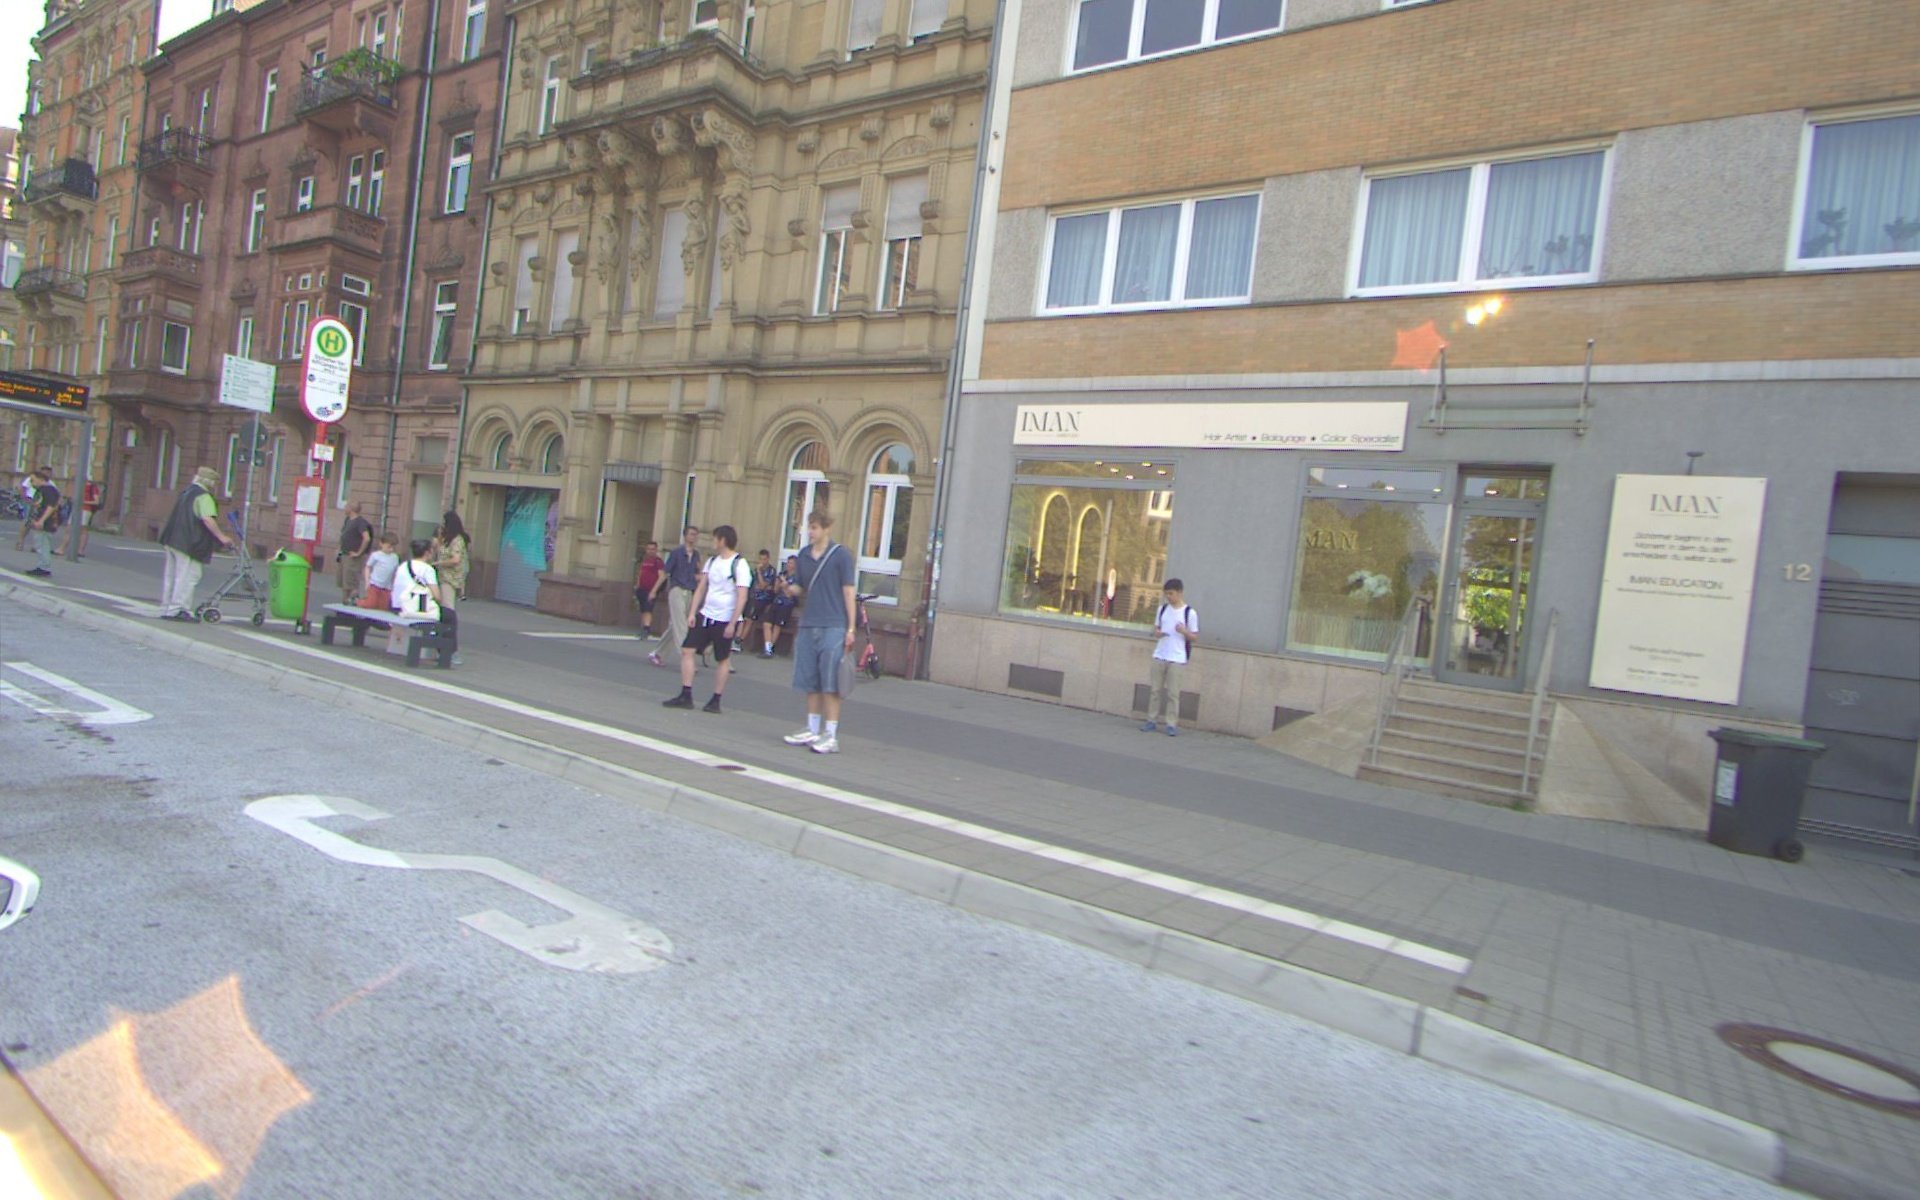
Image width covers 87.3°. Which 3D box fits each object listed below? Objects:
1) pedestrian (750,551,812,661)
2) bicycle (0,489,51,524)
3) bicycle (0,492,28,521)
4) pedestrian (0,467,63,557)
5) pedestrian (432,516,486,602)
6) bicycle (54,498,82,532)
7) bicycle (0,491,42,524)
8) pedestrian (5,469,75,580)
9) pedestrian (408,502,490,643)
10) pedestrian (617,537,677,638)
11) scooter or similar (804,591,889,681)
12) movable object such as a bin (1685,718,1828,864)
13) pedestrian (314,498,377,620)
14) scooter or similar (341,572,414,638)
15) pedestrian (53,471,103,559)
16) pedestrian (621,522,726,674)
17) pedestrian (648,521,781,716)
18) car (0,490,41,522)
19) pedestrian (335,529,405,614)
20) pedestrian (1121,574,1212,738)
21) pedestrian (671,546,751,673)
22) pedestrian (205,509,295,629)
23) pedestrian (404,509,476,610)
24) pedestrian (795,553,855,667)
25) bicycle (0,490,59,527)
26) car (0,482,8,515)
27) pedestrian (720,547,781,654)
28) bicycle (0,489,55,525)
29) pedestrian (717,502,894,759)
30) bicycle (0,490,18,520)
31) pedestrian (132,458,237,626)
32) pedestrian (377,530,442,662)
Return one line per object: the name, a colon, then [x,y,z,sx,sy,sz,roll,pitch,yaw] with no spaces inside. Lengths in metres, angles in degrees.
pedestrian: [-2.940,0.108,16.537,0.577,1.713,0.604,7,1,30]
bicycle: [-33.998,-3.391,36.083,0.491,1.061,1.931,7,0,28]
bicycle: [-36.025,-3.567,37.392,0.491,0.962,1.931,7,0,28]
pedestrian: [-18.543,-1.756,20.092,0.609,1.685,0.690,7,1,34]
pedestrian: [-10.677,-0.868,21.462,0.679,1.741,0.630,7,1,33]
bicycle: [-31.149,-2.972,35.114,1.645,1.061,0.416,7,1,39]
bicycle: [-35.271,-3.467,37.121,0.491,1.061,1.931,7,0,28]
pedestrian: [-14.392,-1.181,15.734,0.691,1.632,0.528,7,1,30]
pedestrian: [-6.655,-0.347,13.106,0.607,1.751,0.565,7,1,30]
pedestrian: [-5.485,-0.211,17.647,0.577,1.675,0.604,7,1,30]
scooter or similar: [-1.675,0.522,14.806,1.133,1.178,0.360,7,1,31]
movable object such as a bin: [7.050,1.665,8.943,0.657,1.094,0.739,7,1,17]
pedestrian: [-9.294,-0.622,15.221,0.792,1.754,0.341,7,1,31]
scooter or similar: [-7.380,0.065,12.752,0.506,0.751,0.565,7,1,30]
pedestrian: [-18.360,-1.765,20.936,0.691,1.723,0.481,7,1,30]
pedestrian: [-3.711,-0.027,13.014,1.054,1.827,0.617,7,1,35]
pedestrian: [-2.372,0.181,9.740,0.787,1.751,0.750,7,1,30]
car: [-43.587,-4.388,44.524,1.521,1.237,3.942,7,0,29]
pedestrian: [-6.282,-0.302,10.710,0.593,0.830,0.303,7,1,26]
pedestrian: [2.505,0.669,12.198,0.730,1.855,0.604,7,1,30]
pedestrian: [-3.375,0.127,13.637,0.800,1.630,0.486,7,1,35]
pedestrian: [-8.194,-0.350,11.619,0.587,1.294,0.565,7,1,30]
pedestrian: [-9.604,-0.746,18.591,0.883,1.746,0.701,7,1,33]
pedestrian: [-2.146,0.169,16.019,0.502,1.753,0.604,7,1,30]
bicycle: [-32.885,-3.217,35.193,0.491,1.061,1.931,7,0,28]
car: [-47.894,-5.095,47.214,1.966,1.583,4.187,7,0,29]
pedestrian: [-3.502,0.015,16.851,0.577,1.713,0.604,7,1,30]
bicycle: [-33.506,-3.320,35.702,0.491,1.061,1.931,7,0,28]
pedestrian: [-1.209,0.236,7.969,0.787,1.855,0.926,7,1,30]
bicycle: [-37.072,-3.699,38.074,0.518,1.061,1.931,7,0,28]
pedestrian: [-8.550,-0.635,11.094,0.733,1.751,0.565,7,1,30]
pedestrian: [-5.634,-0.037,10.298,0.440,1.290,0.275,7,1,27]
